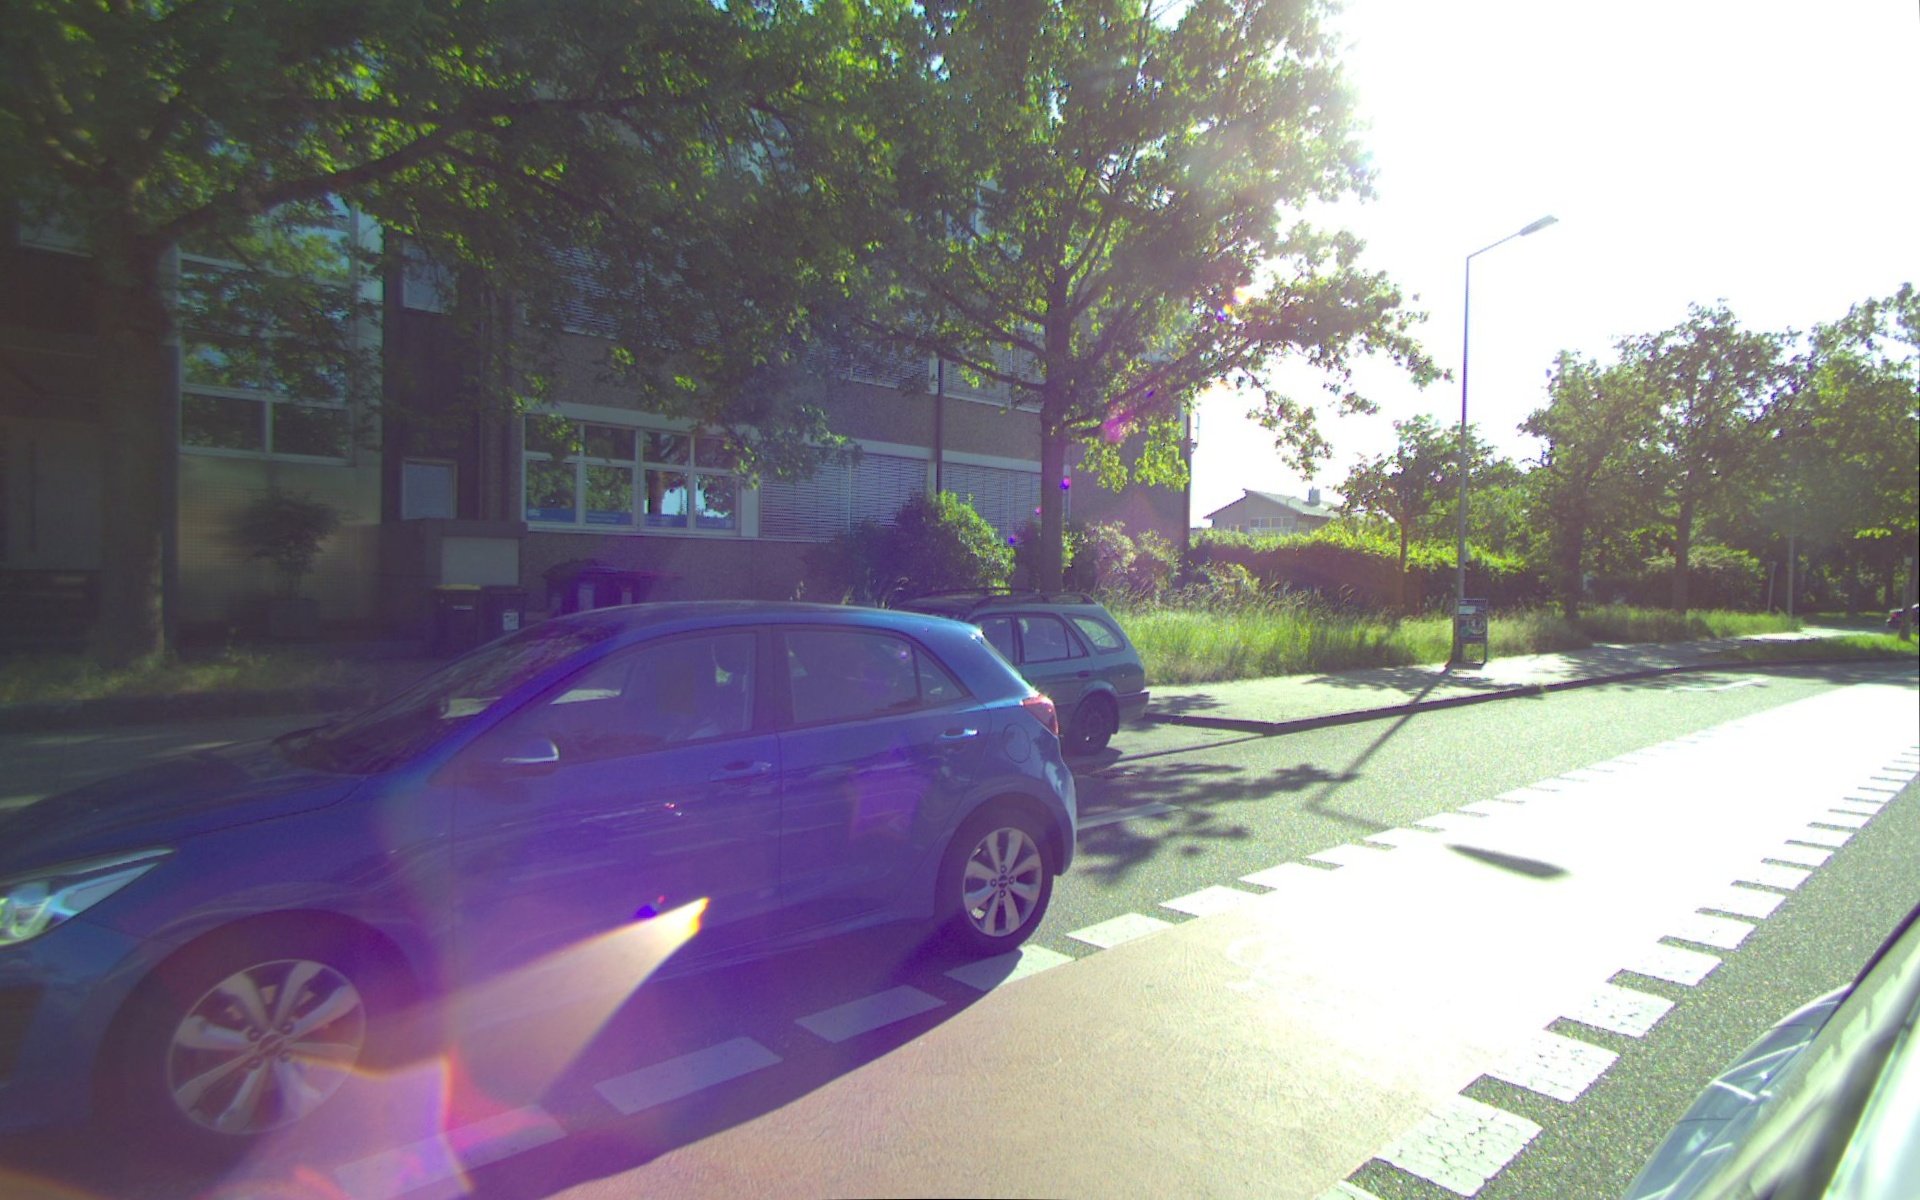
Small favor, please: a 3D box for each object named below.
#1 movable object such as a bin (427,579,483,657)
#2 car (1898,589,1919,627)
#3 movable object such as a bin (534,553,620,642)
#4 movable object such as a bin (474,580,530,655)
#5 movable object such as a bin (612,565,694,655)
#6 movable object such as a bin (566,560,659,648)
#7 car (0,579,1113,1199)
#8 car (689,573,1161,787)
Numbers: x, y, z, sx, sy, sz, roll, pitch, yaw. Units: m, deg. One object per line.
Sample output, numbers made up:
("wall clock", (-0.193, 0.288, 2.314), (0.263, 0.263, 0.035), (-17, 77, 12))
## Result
("movable object such as a bin", (-7.224, 0.246, 14.480), (0.575, 1.070, 0.625), (0, 1, -42))
("car", (41.831, 0.402, 41.745), (1.865, 1.538, 4.481), (-1, 3, -42))
("movable object such as a bin", (-6.790, -0.074, 17.924), (1.024, 1.501, 1.309), (0, 2, -41))
("movable object such as a bin", (-6.768, 0.240, 14.961), (0.604, 1.075, 0.634), (0, 1, -42))
("movable object such as a bin", (-4.790, 0.125, 15.756), (0.878, 1.323, 1.186), (0, 2, -37))
("movable object such as a bin", (-5.781, 0.043, 16.843), (1.070, 1.388, 1.186), (0, 2, -43))
("car", (-1.351, 0.683, 4.009), (3.868, 1.487, 1.654), (0, 0, -37))
("car", (-0.155, 0.575, 9.115), (4.068, 1.487, 1.705), (1, 1, -41))
